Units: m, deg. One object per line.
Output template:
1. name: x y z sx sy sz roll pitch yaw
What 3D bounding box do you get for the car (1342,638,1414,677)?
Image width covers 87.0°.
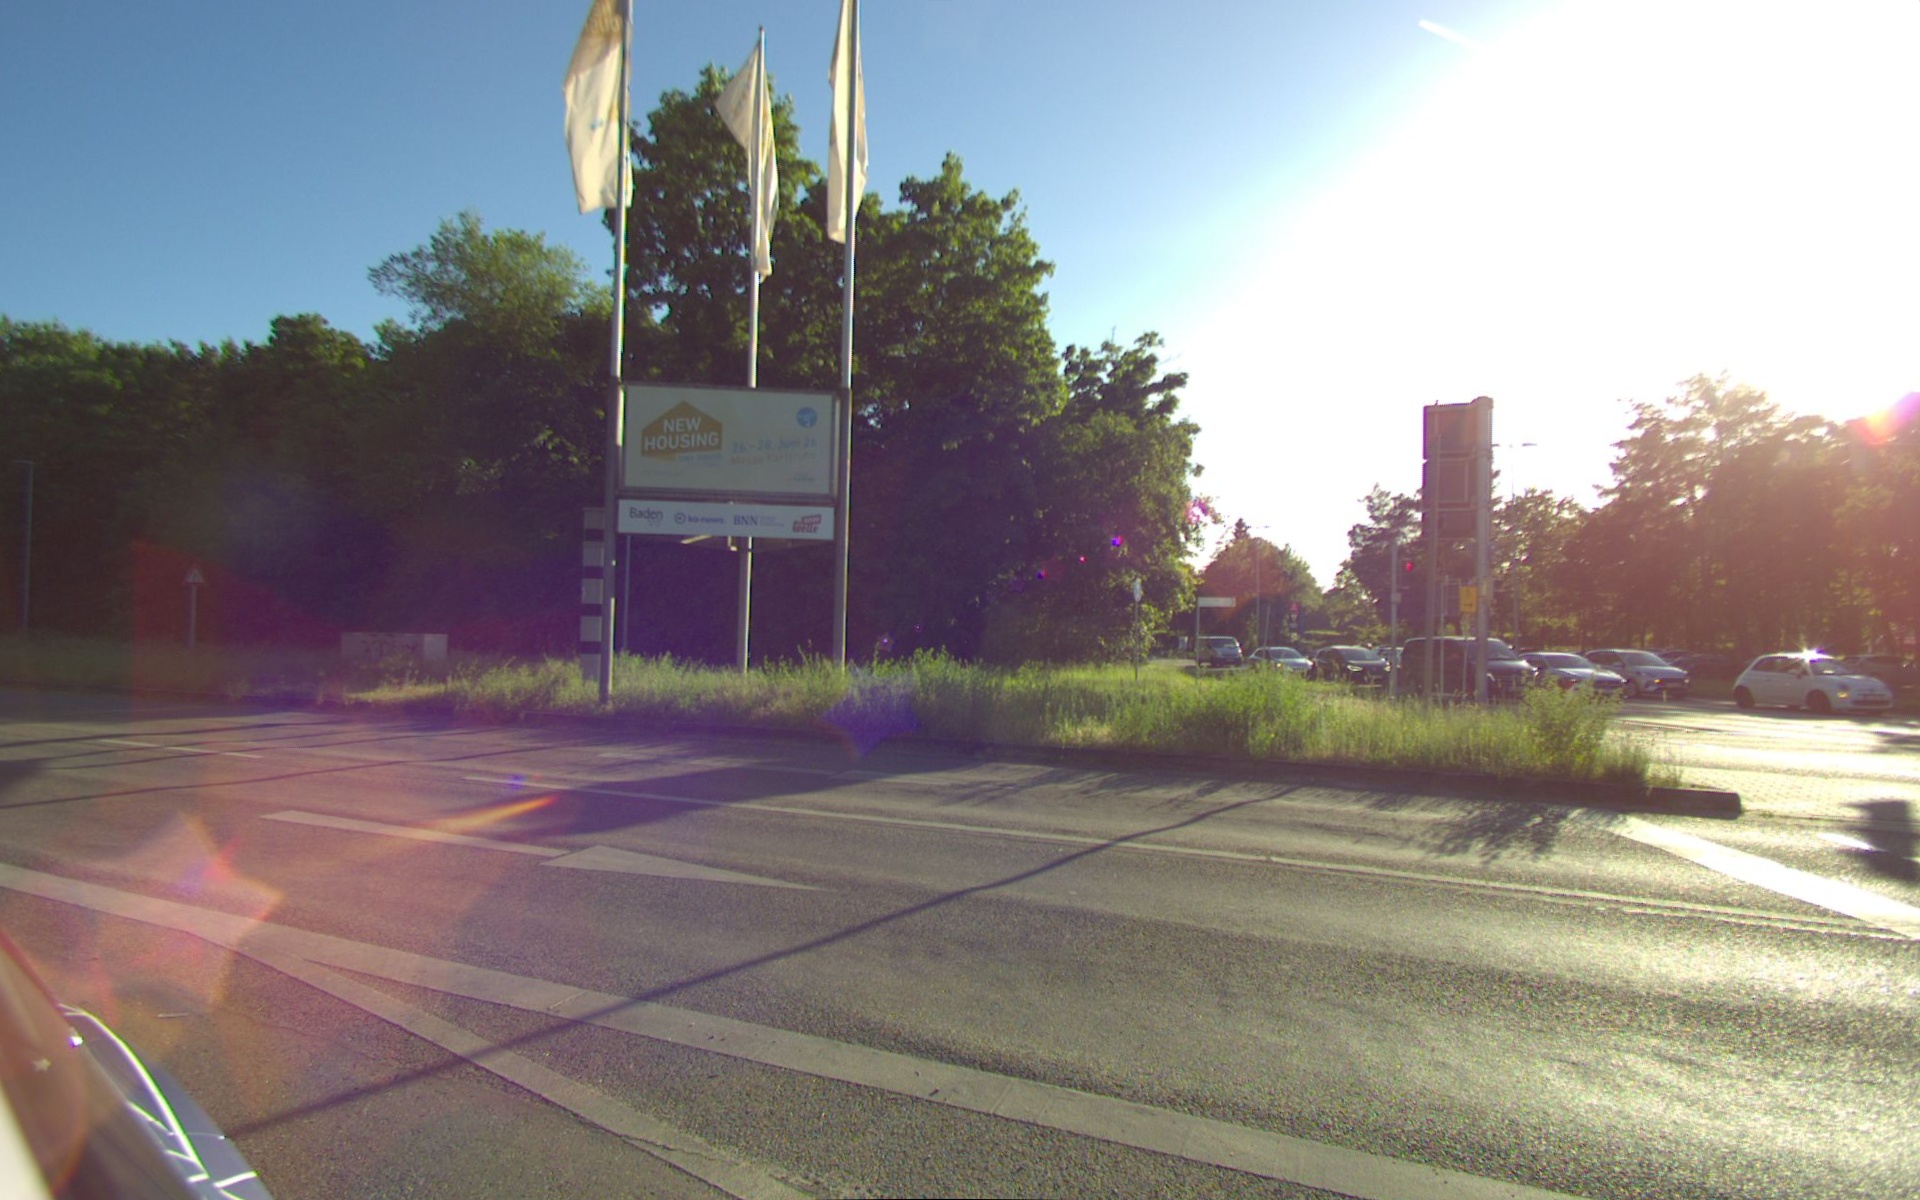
1. car: 20.206 2.757 49.078 1.827 1.773 3.800 1 -2 -1

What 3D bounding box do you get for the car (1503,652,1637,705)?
1. car: 18.148 2.293 30.302 1.624 1.400 3.800 1 -2 -1

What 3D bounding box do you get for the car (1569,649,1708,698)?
1. car: 21.737 2.326 32.622 1.827 1.400 3.800 1 -2 -1

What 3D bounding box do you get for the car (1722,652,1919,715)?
1. car: 21.824 2.060 25.744 1.901 1.400 3.800 1 -2 -1

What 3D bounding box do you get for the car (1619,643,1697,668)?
1. car: 47.747 3.753 69.276 3.929 1.612 1.807 0 -2 12

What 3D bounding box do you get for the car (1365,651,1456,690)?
1. car: 17.848 2.754 40.266 1.827 1.400 3.800 1 -2 -1

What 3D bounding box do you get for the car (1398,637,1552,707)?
1. car: 15.037 2.043 29.905 1.901 1.844 4.935 1 -2 -2

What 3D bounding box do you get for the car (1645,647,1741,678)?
1. car: 41.622 3.555 57.551 3.953 1.631 1.938 1 -2 8

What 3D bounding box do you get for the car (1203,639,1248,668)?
1. car: 17.173 3.426 65.655 1.827 1.773 3.800 1 -2 -1

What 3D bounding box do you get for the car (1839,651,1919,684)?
1. car: 48.348 3.482 52.244 4.107 1.612 1.807 0 -2 12

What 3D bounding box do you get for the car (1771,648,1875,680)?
1. car: 47.586 3.521 55.862 3.929 1.612 1.807 0 -2 12

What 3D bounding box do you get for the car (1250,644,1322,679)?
1. car: 14.333 2.696 44.685 1.827 1.400 3.800 1 -2 -1

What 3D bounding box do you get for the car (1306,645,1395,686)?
1. car: 14.775 2.457 38.501 1.827 1.400 3.800 1 -2 -1
